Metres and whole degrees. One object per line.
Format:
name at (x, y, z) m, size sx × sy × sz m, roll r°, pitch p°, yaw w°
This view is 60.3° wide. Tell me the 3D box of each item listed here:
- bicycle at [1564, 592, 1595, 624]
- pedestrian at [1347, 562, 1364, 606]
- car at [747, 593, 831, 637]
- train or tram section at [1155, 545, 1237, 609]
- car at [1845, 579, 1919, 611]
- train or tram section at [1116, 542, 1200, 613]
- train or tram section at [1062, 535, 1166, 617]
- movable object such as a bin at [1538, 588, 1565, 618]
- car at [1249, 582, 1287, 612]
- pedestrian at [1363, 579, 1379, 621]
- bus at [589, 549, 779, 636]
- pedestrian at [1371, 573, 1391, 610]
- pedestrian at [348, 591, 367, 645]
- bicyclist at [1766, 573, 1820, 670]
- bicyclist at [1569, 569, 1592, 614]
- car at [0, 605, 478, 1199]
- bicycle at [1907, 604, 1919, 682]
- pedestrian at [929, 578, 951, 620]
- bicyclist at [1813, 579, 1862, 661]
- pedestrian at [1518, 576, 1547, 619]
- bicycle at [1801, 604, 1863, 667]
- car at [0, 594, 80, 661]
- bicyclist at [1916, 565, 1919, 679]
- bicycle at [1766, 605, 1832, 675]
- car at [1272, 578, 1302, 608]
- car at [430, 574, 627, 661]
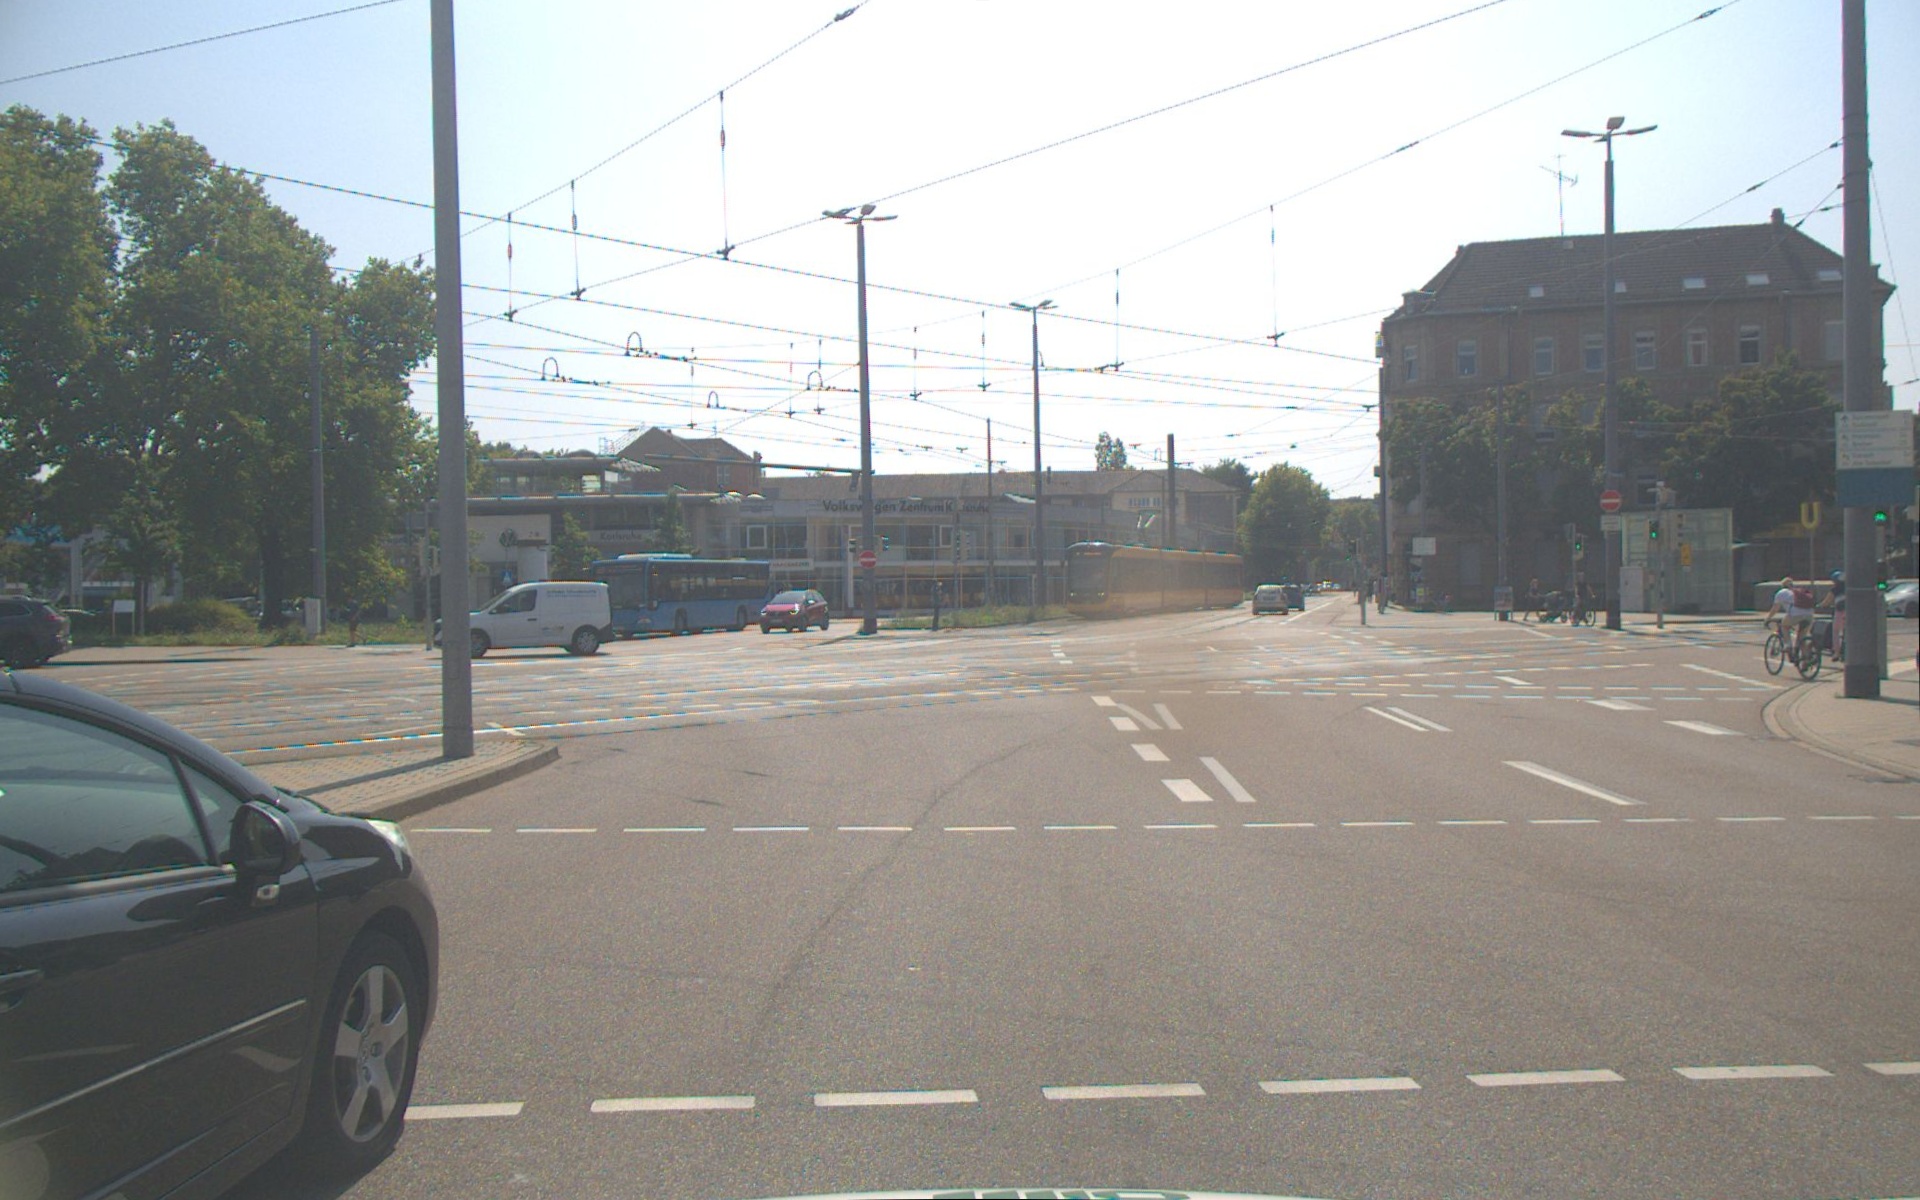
bicycle at (21.570, 0.273, 57.592) m, size 0.459 × 1.073 × 1.653 m, roll -1°, pitch 0°, yaw 0°
pedestrian at (27.994, -1.156, 117.016) m, size 0.963 × 3.070 × 0.975 m, roll -1°, pitch 0°, yaw 5°
car at (-6.492, 0.545, 63.093) m, size 1.713 × 1.579 × 4.002 m, roll -1°, pitch 0°, yaw 17°
train or tram section at (14.340, -1.370, 99.399) m, size 2.534 × 3.578 × 12.978 m, roll -1°, pitch 0°, yaw 19°
car at (35.349, -0.200, 61.905) m, size 3.935 × 1.109 × 1.985 m, roll -1°, pitch 0°, yaw -24°
train or tram section at (10.713, -1.181, 88.623) m, size 2.534 × 3.578 × 9.663 m, roll -1°, pitch 0°, yaw 18°
train or tram section at (7.478, -1.106, 78.817) m, size 2.534 × 3.578 × 10.904 m, roll -1°, pitch 0°, yaw 18°
movable object such as a bin at (22.004, 0.114, 61.522) m, size 0.798 × 1.096 × 0.510 m, roll -1°, pitch 0°, yaw -11°
car at (15.533, -0.177, 83.353) m, size 1.732 × 1.440 × 4.192 m, roll -1°, pitch 0°, yaw 13°
pedestrian at (30.172, 0.022, 121.406) m, size 0.963 × 3.070 × 0.975 m, roll -1°, pitch 0°, yaw 4°
bus at (-10.747, -0.319, 66.215) m, size 2.508 × 3.136 × 12.031 m, roll -1°, pitch 0°, yaw 16°
pedestrian at (18.985, -0.374, 74.604) m, size 0.686 × 1.631 × 0.572 m, roll -1°, pitch 0°, yaw -8°
pedestrian at (-19.229, 0.577, 52.791) m, size 0.544 × 1.713 × 0.452 m, roll -1°, pitch 0°, yaw -19°
bicyclist at (13.599, 0.344, 27.013) m, size 0.614 × 1.544 × 0.712 m, roll -1°, pitch 0°, yaw 12°
bicyclist at (21.593, -0.297, 57.532) m, size 0.599 × 1.555 × 0.521 m, roll -1°, pitch 0°, yaw 1°
car at (-2.369, 0.737, 2.918) m, size 1.728 × 1.412 × 3.783 m, roll 1°, pitch 0°, yaw 3°
bicycle at (13.357, 0.593, 22.092) m, size 0.481 × 1.073 × 1.824 m, roll -1°, pitch 0°, yaw 4°
pedestrian at (-0.715, -0.043, 58.542) m, size 0.666 × 1.468 × 0.364 m, roll -1°, pitch 0°, yaw -18°
bicyclist at (15.434, 0.341, 29.096) m, size 0.519 × 1.417 × 0.894 m, roll -1°, pitch 0°, yaw 12°
pedestrian at (21.459, -0.098, 61.989) m, size 0.834 × 1.572 × 0.528 m, roll -1°, pitch 0°, yaw -9°
bicycle at (15.539, 0.612, 29.488) m, size 0.525 × 1.073 × 1.655 m, roll -1°, pitch 0°, yaw 12°
car at (-23.316, 0.664, 38.706) m, size 4.545 × 1.531 × 1.987 m, roll -1°, pitch 0°, yaw -21°
bicyclist at (13.365, 0.293, 22.161) m, size 0.718 × 1.544 × 0.664 m, roll -1°, pitch 0°, yaw 4°
bicycle at (13.585, 0.628, 26.800) m, size 0.525 × 1.073 × 1.655 m, roll -1°, pitch 0°, yaw 12°
car at (18.556, -0.413, 93.771) m, size 1.601 × 1.646 × 4.004 m, roll -1°, pitch 0°, yaw 11°
car at (-10.848, 0.414, 41.595) m, size 4.548 × 2.049 × 1.986 m, roll -1°, pitch 0°, yaw -23°
